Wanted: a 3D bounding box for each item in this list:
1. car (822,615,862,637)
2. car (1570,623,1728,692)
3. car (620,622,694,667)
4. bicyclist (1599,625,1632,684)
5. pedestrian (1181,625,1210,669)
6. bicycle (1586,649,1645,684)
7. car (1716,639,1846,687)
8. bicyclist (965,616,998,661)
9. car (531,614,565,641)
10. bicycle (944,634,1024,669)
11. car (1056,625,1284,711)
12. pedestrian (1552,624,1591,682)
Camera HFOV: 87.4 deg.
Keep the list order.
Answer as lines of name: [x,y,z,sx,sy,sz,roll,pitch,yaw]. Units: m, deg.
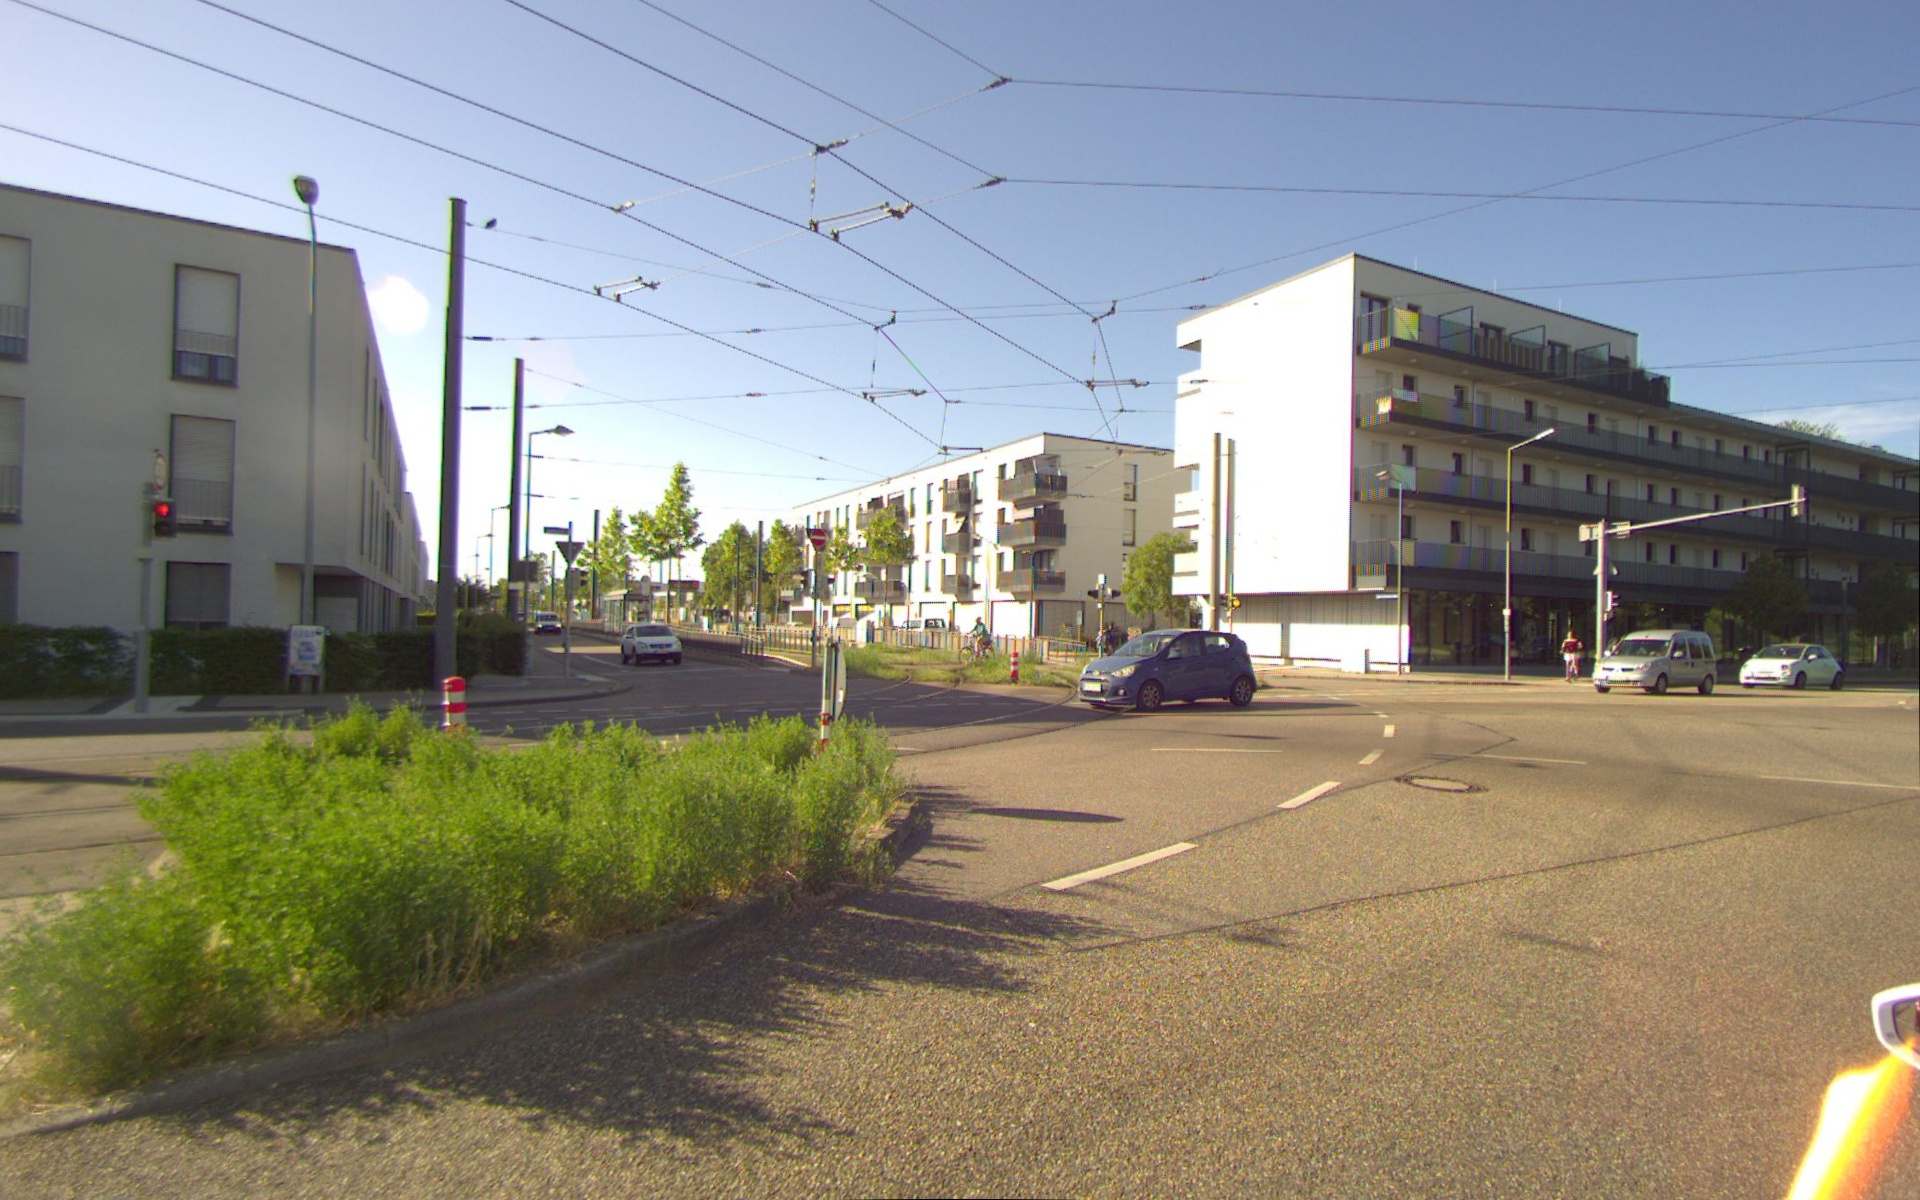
car: [-9.663,2.115,81.831,1.975,1.574,3.972,2,0,-27]
car: [19.305,1.600,28.119,4.310,1.778,1.985,2,-2,-30]
car: [-12.029,1.725,39.729,1.985,1.687,3.969,2,-2,-30]
bicyclist: [23.197,1.917,35.547,0.805,2.040,0.786,2,-2,-39]
pedestrian: [9.805,1.945,41.840,0.933,1.756,0.646,2,0,-3]
bicycle: [23.179,2.328,35.548,0.738,1.159,1.625,2,-2,-38]
car: [27.321,2.102,33.433,3.494,1.506,1.989,2,-3,-24]
bicyclist: [0.785,1.385,36.546,0.900,1.613,0.891,2,-2,-21]
car: [-33.265,2.216,81.065,1.976,2.040,3.969,2,-2,-30]
bicycle: [0.890,1.873,36.580,2.783,1.214,0.899,2,-2,-21]
car: [4.124,1.281,19.469,4.404,1.475,1.686,2,-2,-32]
pedestrian: [21.860,1.878,35.921,0.752,2.040,0.972,2,-2,-32]
